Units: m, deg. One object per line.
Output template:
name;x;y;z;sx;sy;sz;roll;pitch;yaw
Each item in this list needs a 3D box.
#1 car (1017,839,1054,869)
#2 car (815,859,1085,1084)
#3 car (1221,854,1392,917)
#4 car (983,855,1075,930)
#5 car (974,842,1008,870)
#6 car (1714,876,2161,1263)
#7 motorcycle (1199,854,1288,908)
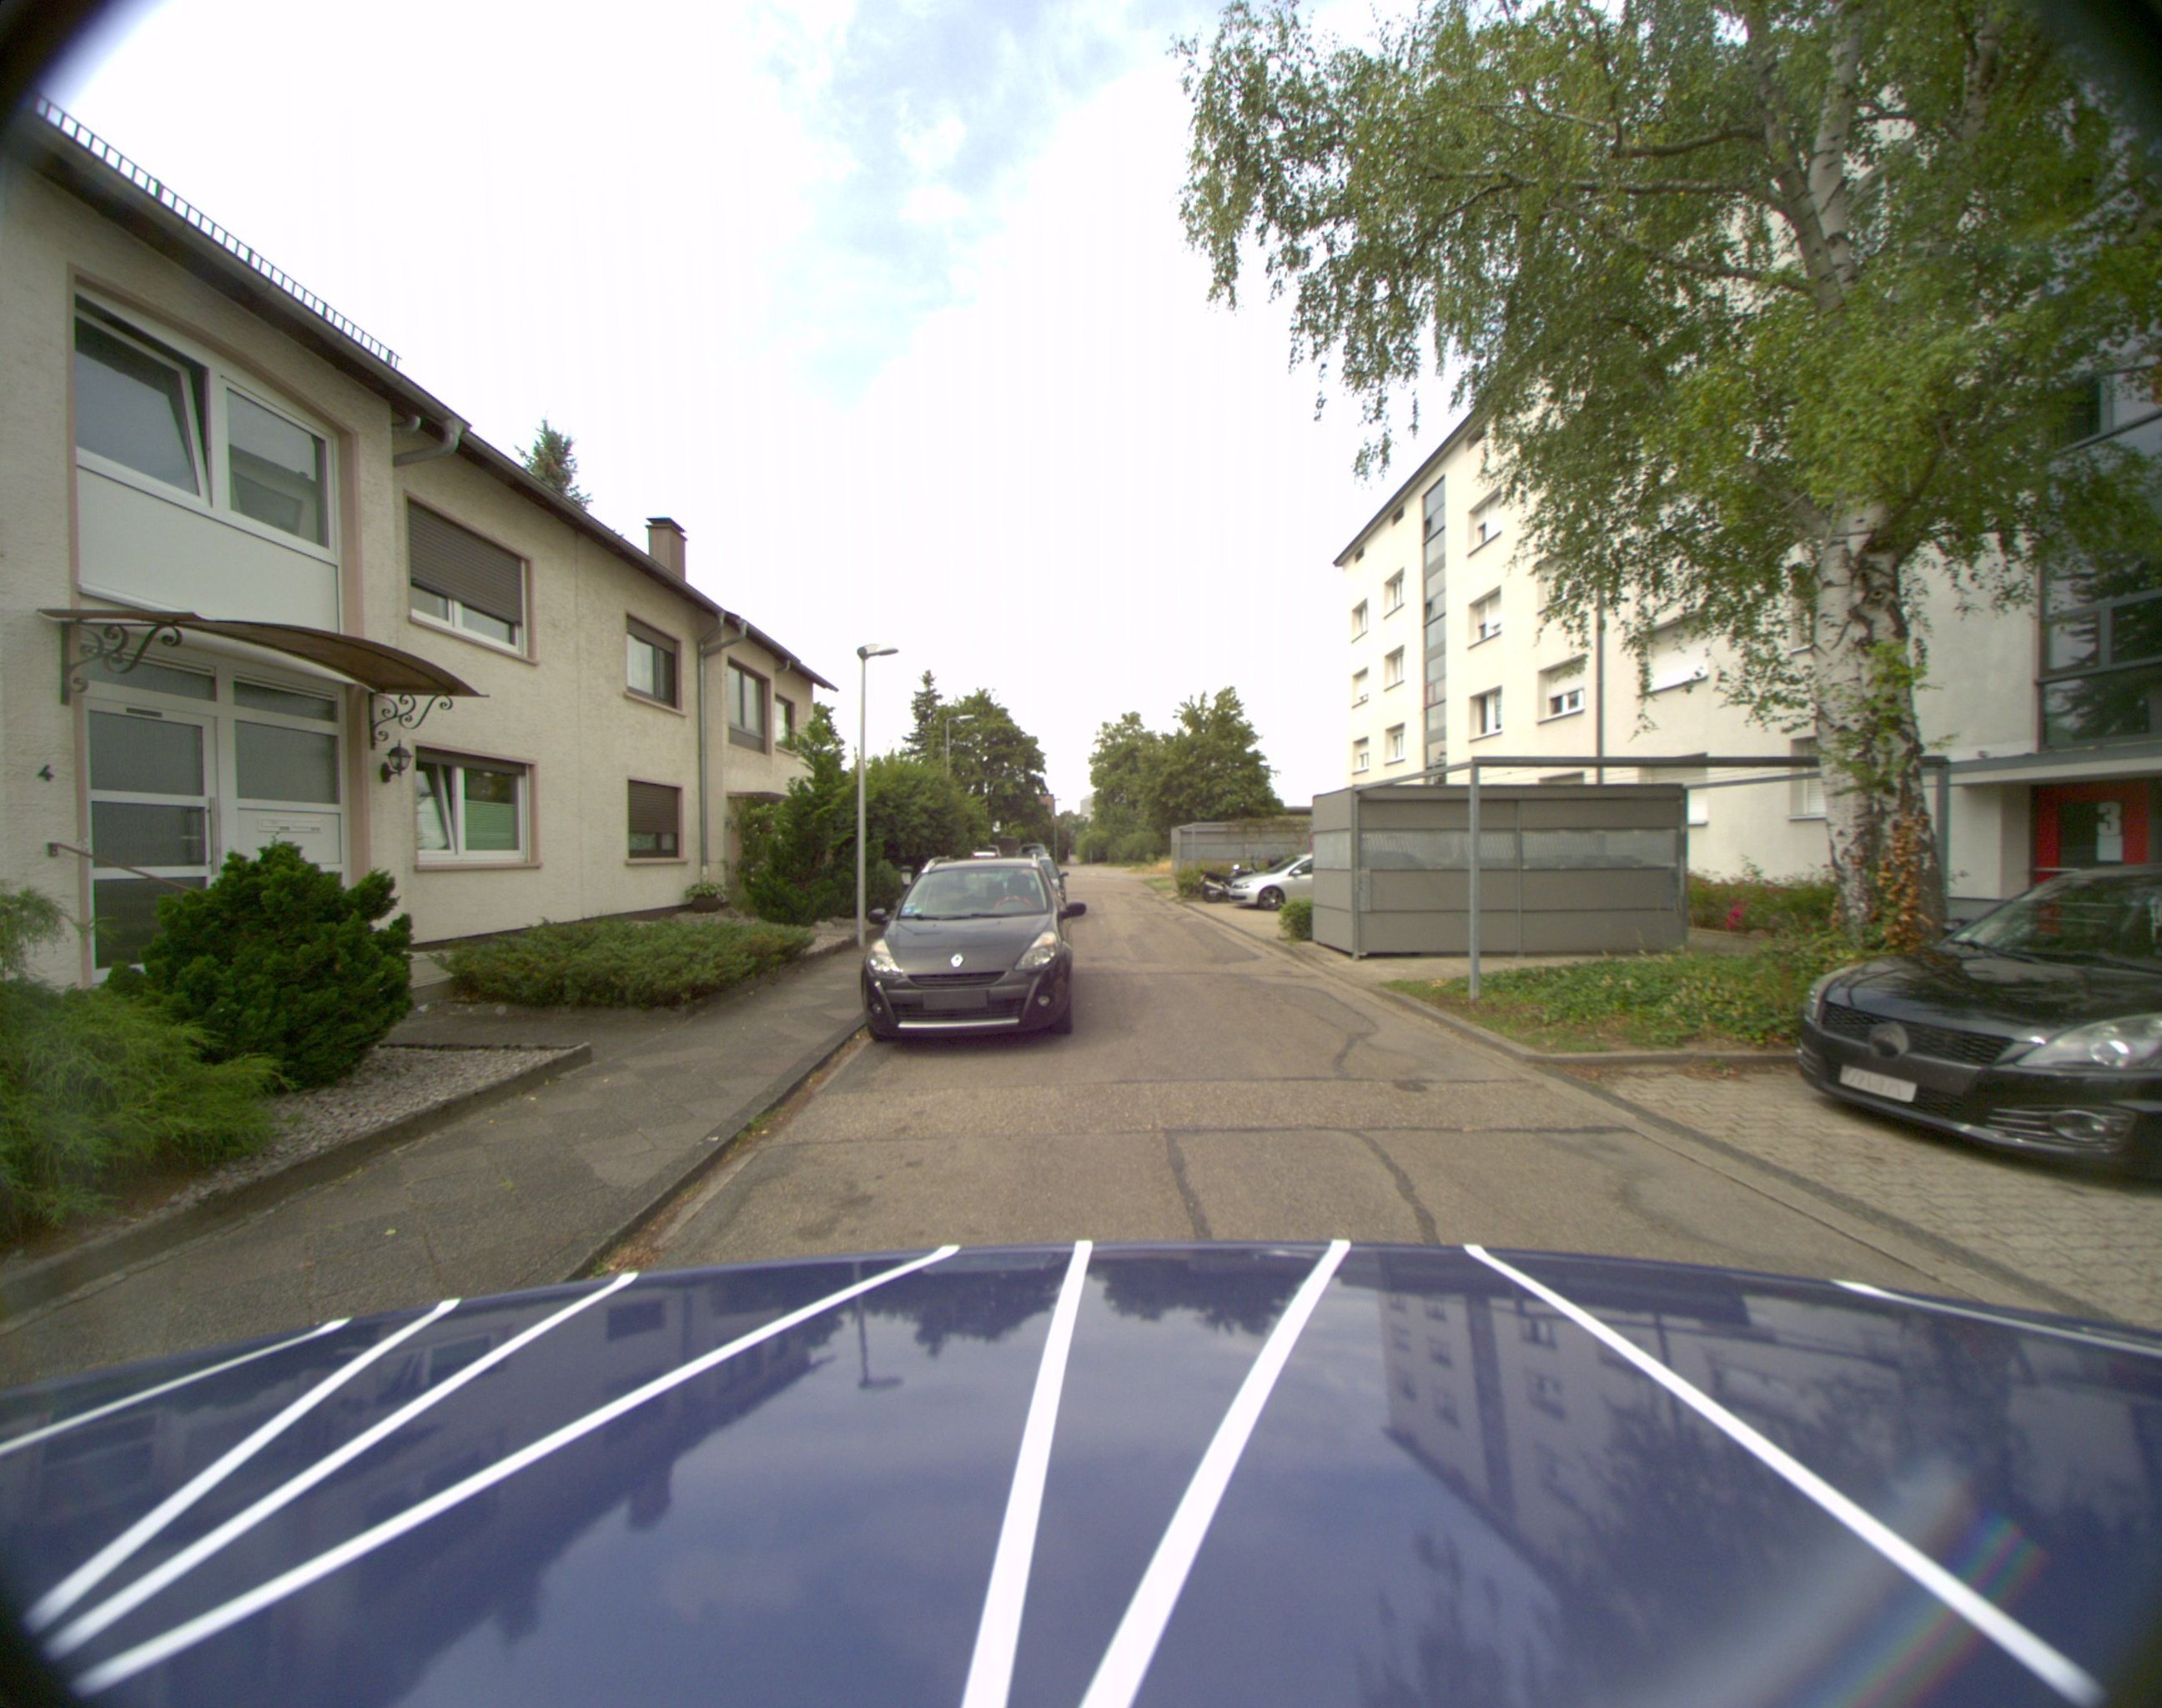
car;-2.592;-0.035;43.174;1.926;1.576;3.998;-2;1;-3
car;-1.008;0.833;7.412;1.834;1.449;4.188;-1;1;-3
car;5.931;0.794;20.368;3.997;1.477;1.902;2;1;1
car;-1.170;0.790;17.688;1.834;1.449;4.188;-1;1;-3
car;-5.120;0.083;43.755;1.705;1.458;3.997;0;2;-3
car;6.101;0.912;3.998;4.062;1.496;1.781;0;1;-1
motorcycle;4.682;0.765;22.021;2.383;1.456;0.714;2;1;-1
